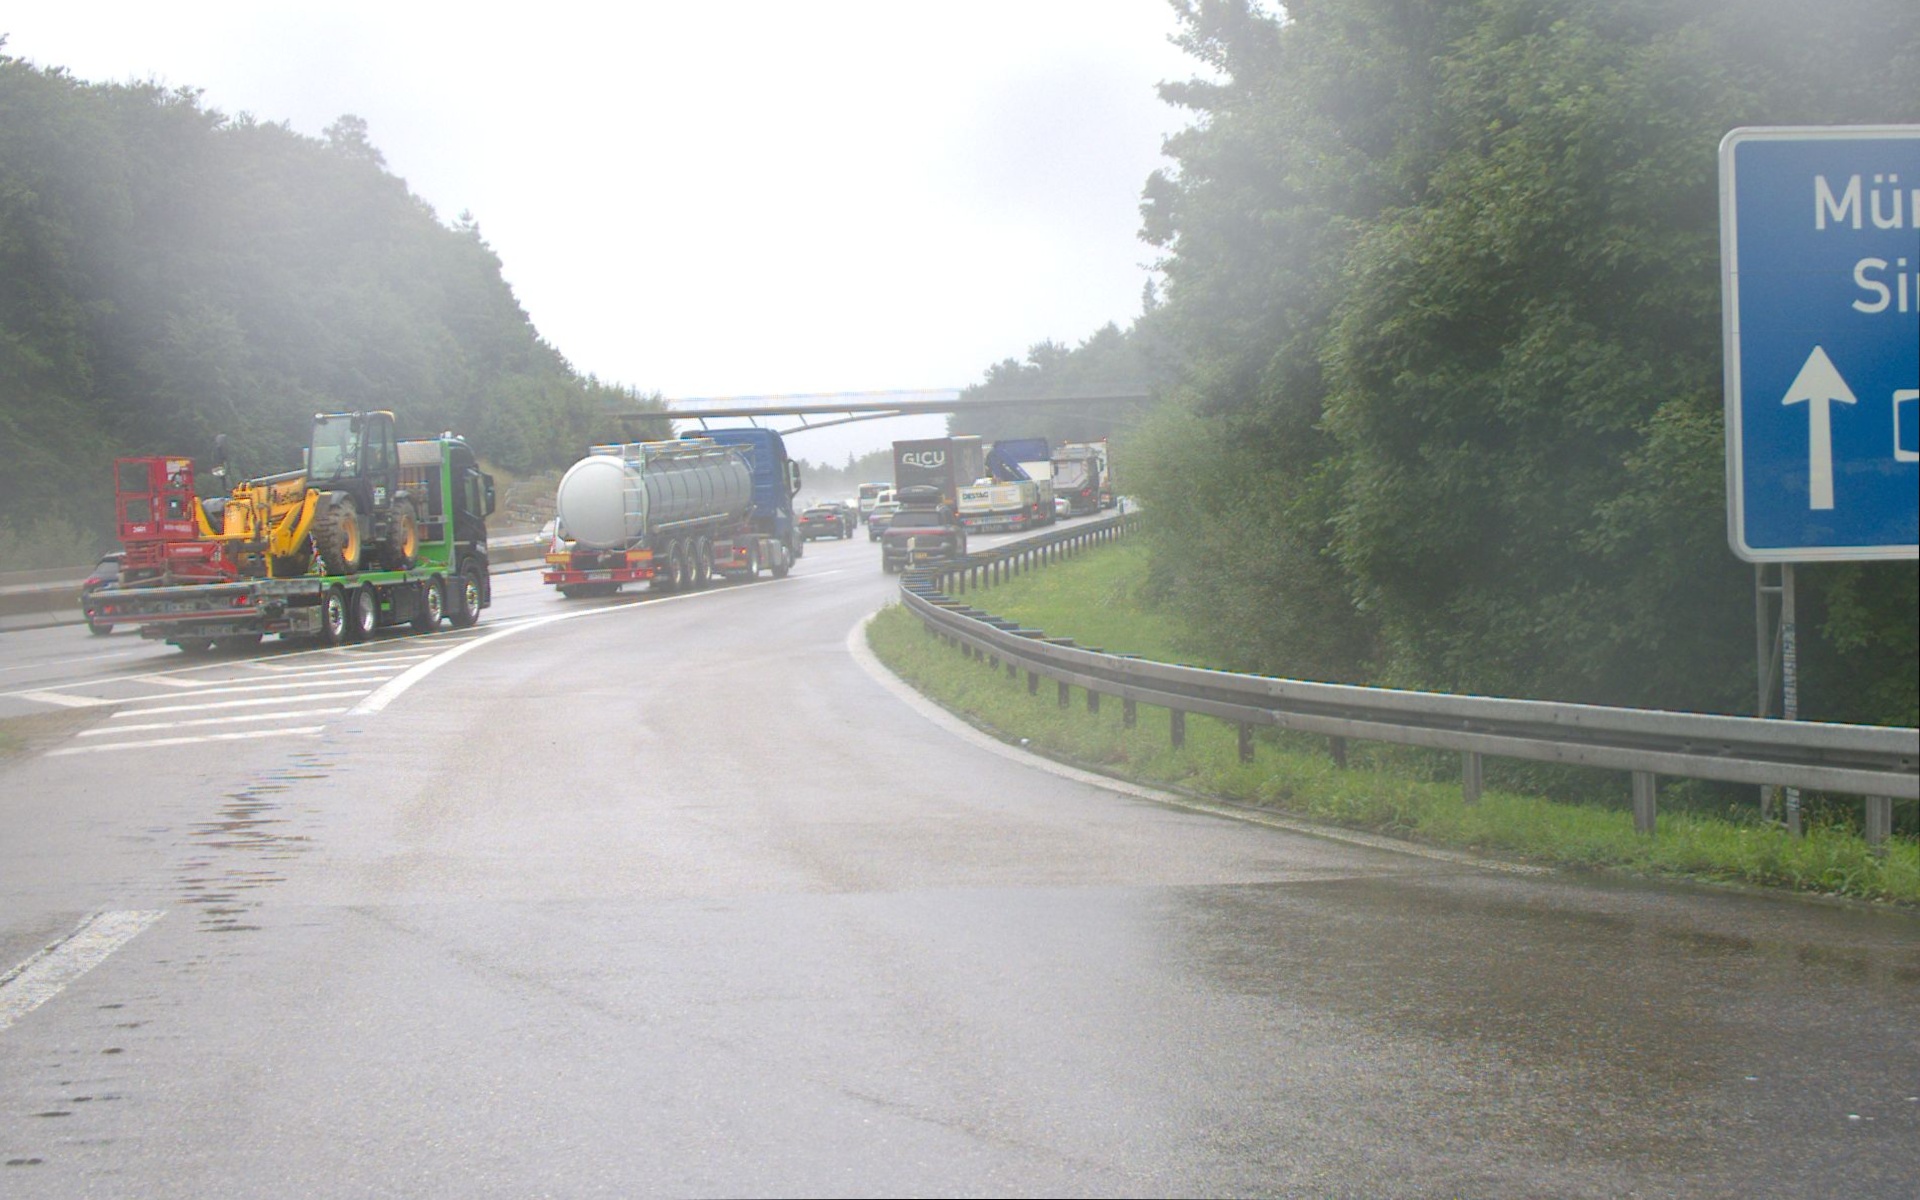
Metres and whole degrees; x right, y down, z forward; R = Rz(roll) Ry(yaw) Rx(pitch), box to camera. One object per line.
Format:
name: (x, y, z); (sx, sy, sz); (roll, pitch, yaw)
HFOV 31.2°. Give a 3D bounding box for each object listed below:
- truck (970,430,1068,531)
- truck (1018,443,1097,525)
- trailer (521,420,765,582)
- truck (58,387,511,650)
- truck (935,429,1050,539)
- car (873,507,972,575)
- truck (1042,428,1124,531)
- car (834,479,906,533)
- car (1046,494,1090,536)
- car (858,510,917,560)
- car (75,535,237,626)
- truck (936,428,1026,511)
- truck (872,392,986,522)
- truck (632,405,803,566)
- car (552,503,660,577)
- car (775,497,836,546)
truck: (2.748, -5.343, 155.881); (3.508, 4.253, 10.601); (1, 1, 6)
truck: (5.130, -5.964, 178.396); (3.755, 3.957, 11.058); (1, 1, 3)
trailer: (-6.952, -2.292, 77.229); (2.874, 3.277, 10.075); (-2, 2, 9)
truck: (-10.342, -1.356, 54.528); (2.832, 3.576, 11.794); (-3, 2, 10)
truck: (1.416, -4.761, 139.860); (3.600, 4.090, 11.559); (-3, 2, 5)
car: (-0.920, -1.464, 85.927); (1.994, 1.630, 3.999); (1, 1, 6)
truck: (7.257, -7.008, 201.709); (4.337, 5.744, 9.729); (1, 1, 4)
car: (-5.211, -5.451, 199.723); (3.247, 2.992, 6.772); (1, 1, 6)
car: (5.184, -4.053, 164.389); (1.798, 1.897, 3.999); (-2, 1, 6)
car: (-2.797, -2.508, 132.697); (1.798, 1.897, 3.999); (1, 1, 6)
car: (-15.855, -0.397, 67.970); (1.786, 1.721, 3.999); (1, 1, 8)
truck: (1.210, -6.982, 186.077); (3.577, 4.081, 10.877); (-2, 0, 7)
truck: (-1.321, -6.291, 153.673); (3.755, 5.480, 10.170); (1, 1, 7)
truck: (-5.855, -2.807, 83.898); (2.878, 3.680, 5.055); (-2, 2, 10)
car: (-8.971, -1.540, 87.465); (1.820, 1.761, 3.999); (-2, 2, 7)
car: (-6.271, -3.205, 140.244); (1.798, 1.897, 3.999); (-2, 1, 7)
